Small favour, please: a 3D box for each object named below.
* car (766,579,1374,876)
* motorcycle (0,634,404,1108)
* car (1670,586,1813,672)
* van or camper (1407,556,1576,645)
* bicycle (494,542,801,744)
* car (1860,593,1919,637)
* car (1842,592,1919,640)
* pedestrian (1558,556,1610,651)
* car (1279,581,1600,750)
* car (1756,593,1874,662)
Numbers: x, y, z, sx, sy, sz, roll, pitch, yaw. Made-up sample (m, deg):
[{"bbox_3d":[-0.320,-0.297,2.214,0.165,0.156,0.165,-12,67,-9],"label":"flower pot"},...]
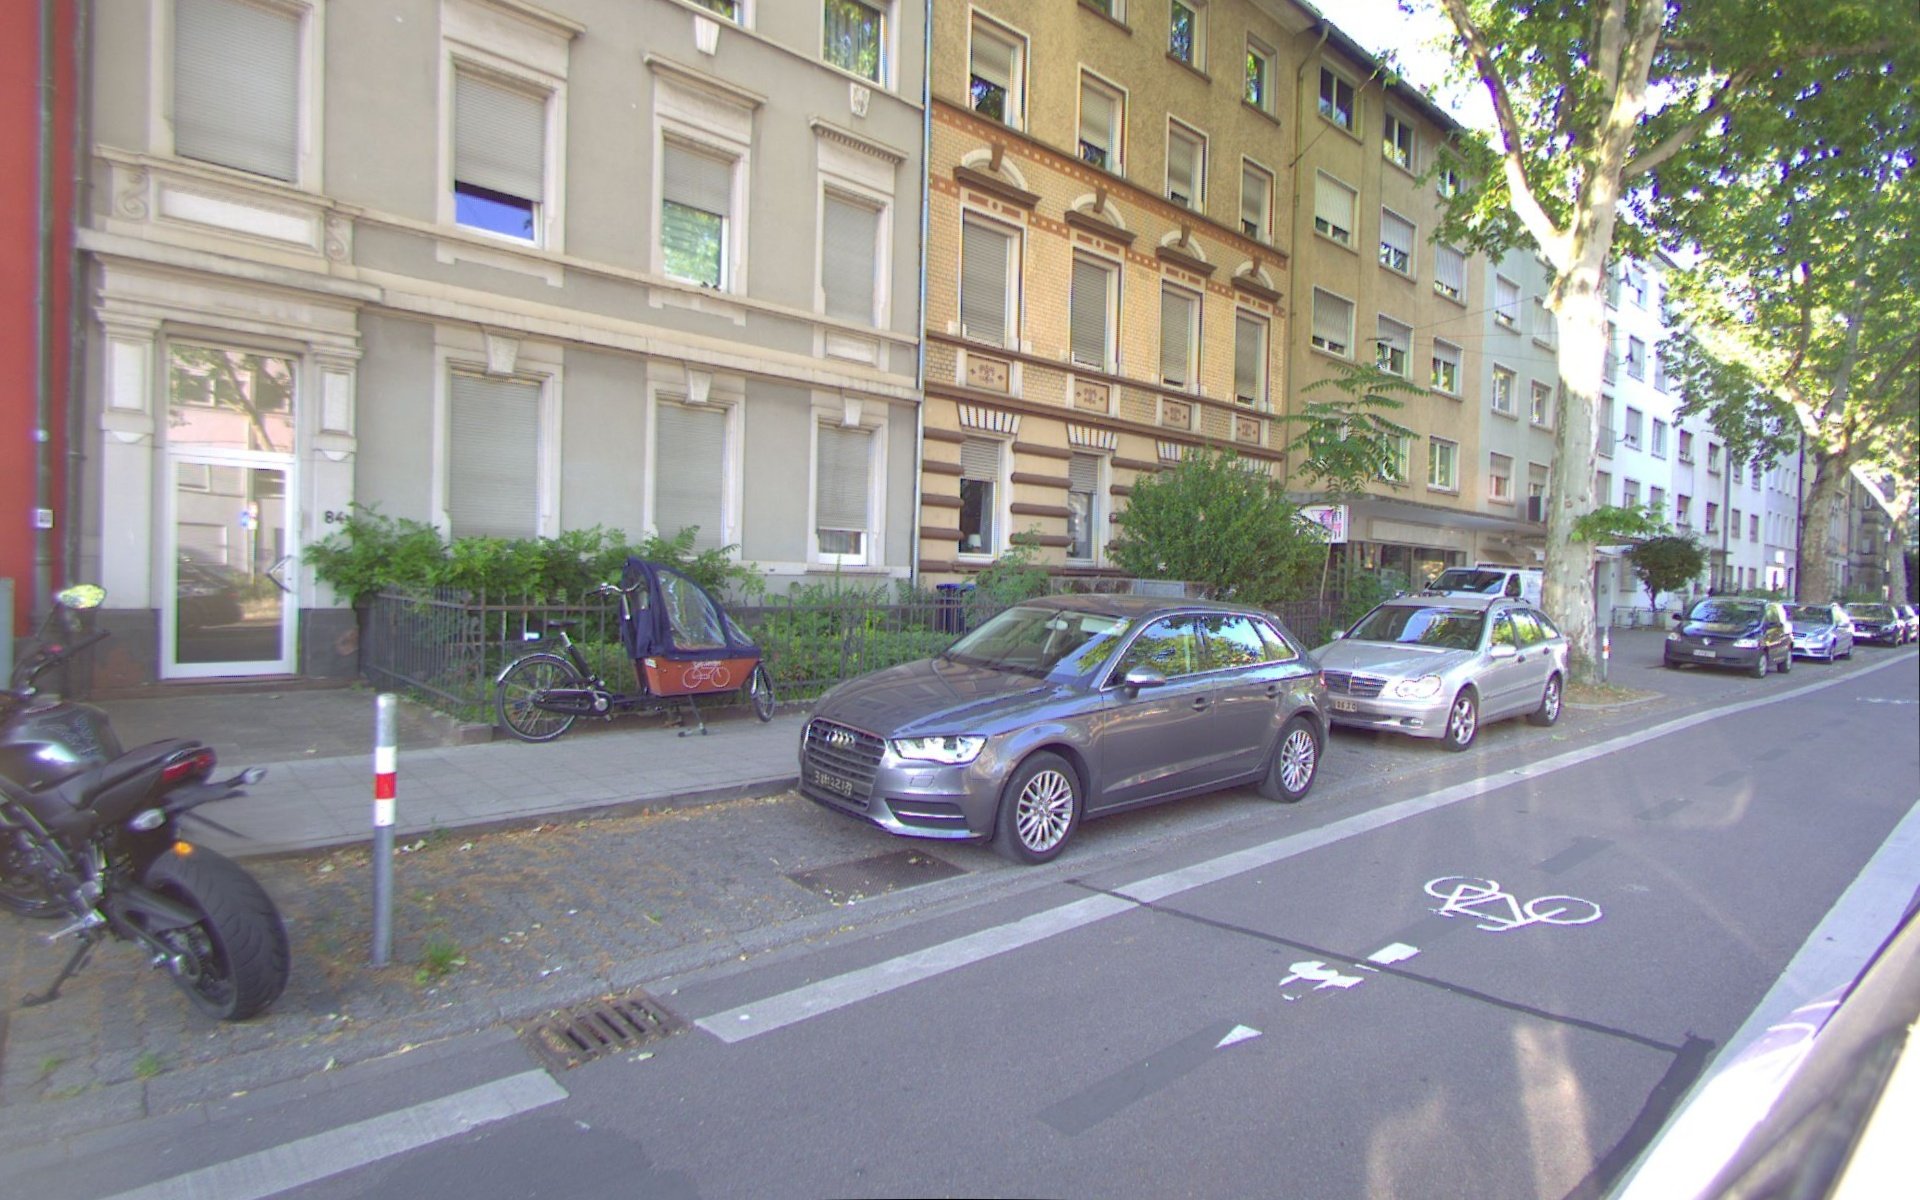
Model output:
[{"bbox_3d":[0.973,0.610,6.984,4.245,1.414,1.714,0,2,-41],"label":"car"},{"bbox_3d":[-3.024,0.762,3.577,2.193,1.076,0.760,4,2,28],"label":"motorcycle"},{"bbox_3d":[16.243,0.529,20.968,3.932,1.564,1.656,0,2,-42],"label":"car"},{"bbox_3d":[13.176,-0.020,24.921,5.299,1.946,1.945,0,2,-42],"label":"van or camper"},{"bbox_3d":[-2.463,0.300,8.237,2.354,1.445,0.608,0,0,-41],"label":"bicycle"},{"bbox_3d":[35.191,0.522,37.884,4.289,1.432,1.712,0,4,-42],"label":"car"},{"bbox_3d":[31.665,0.510,34.614,4.289,1.432,1.712,0,4,-42],"label":"car"},{"bbox_3d":[13.693,0.058,22.203,0.995,2.038,0.683,0,1,-44],"label":"pedestrian"},{"bbox_3d":[5.460,0.567,11.212,4.494,1.469,1.676,0,2,-43],"label":"car"},{"bbox_3d":[21.996,0.631,25.963,4.695,1.561,1.697,0,2,-42],"label":"car"}]
